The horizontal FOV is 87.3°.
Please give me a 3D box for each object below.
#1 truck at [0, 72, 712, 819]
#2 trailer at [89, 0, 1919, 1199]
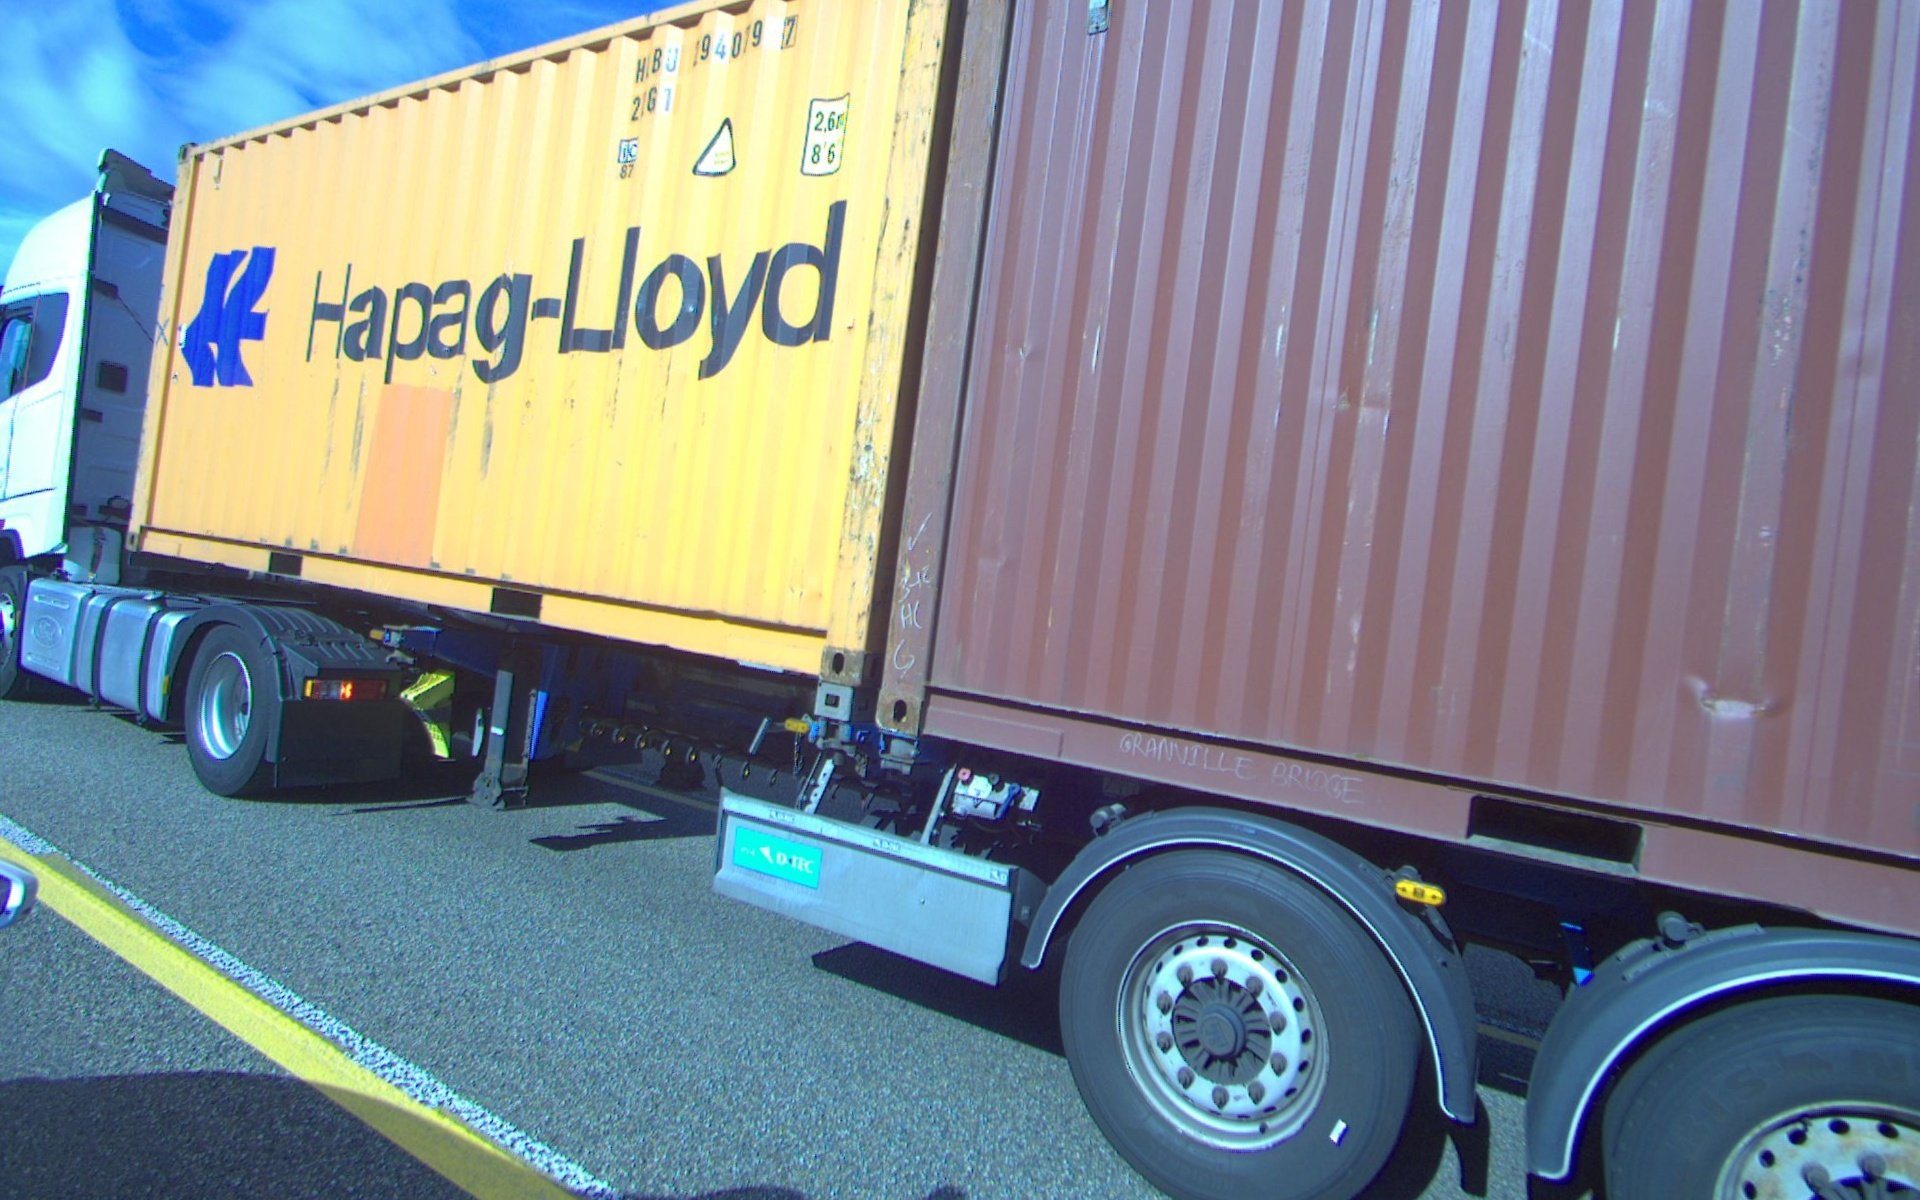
[{"bbox_3d":[-5.071,-0.940,7.659,5.693,3.825,2.500,6,-1,31],"label":"truck"},{"bbox_3d":[0.429,-0.290,4.319,11.933,3.820,2.476,7,-1,31],"label":"trailer"}]
